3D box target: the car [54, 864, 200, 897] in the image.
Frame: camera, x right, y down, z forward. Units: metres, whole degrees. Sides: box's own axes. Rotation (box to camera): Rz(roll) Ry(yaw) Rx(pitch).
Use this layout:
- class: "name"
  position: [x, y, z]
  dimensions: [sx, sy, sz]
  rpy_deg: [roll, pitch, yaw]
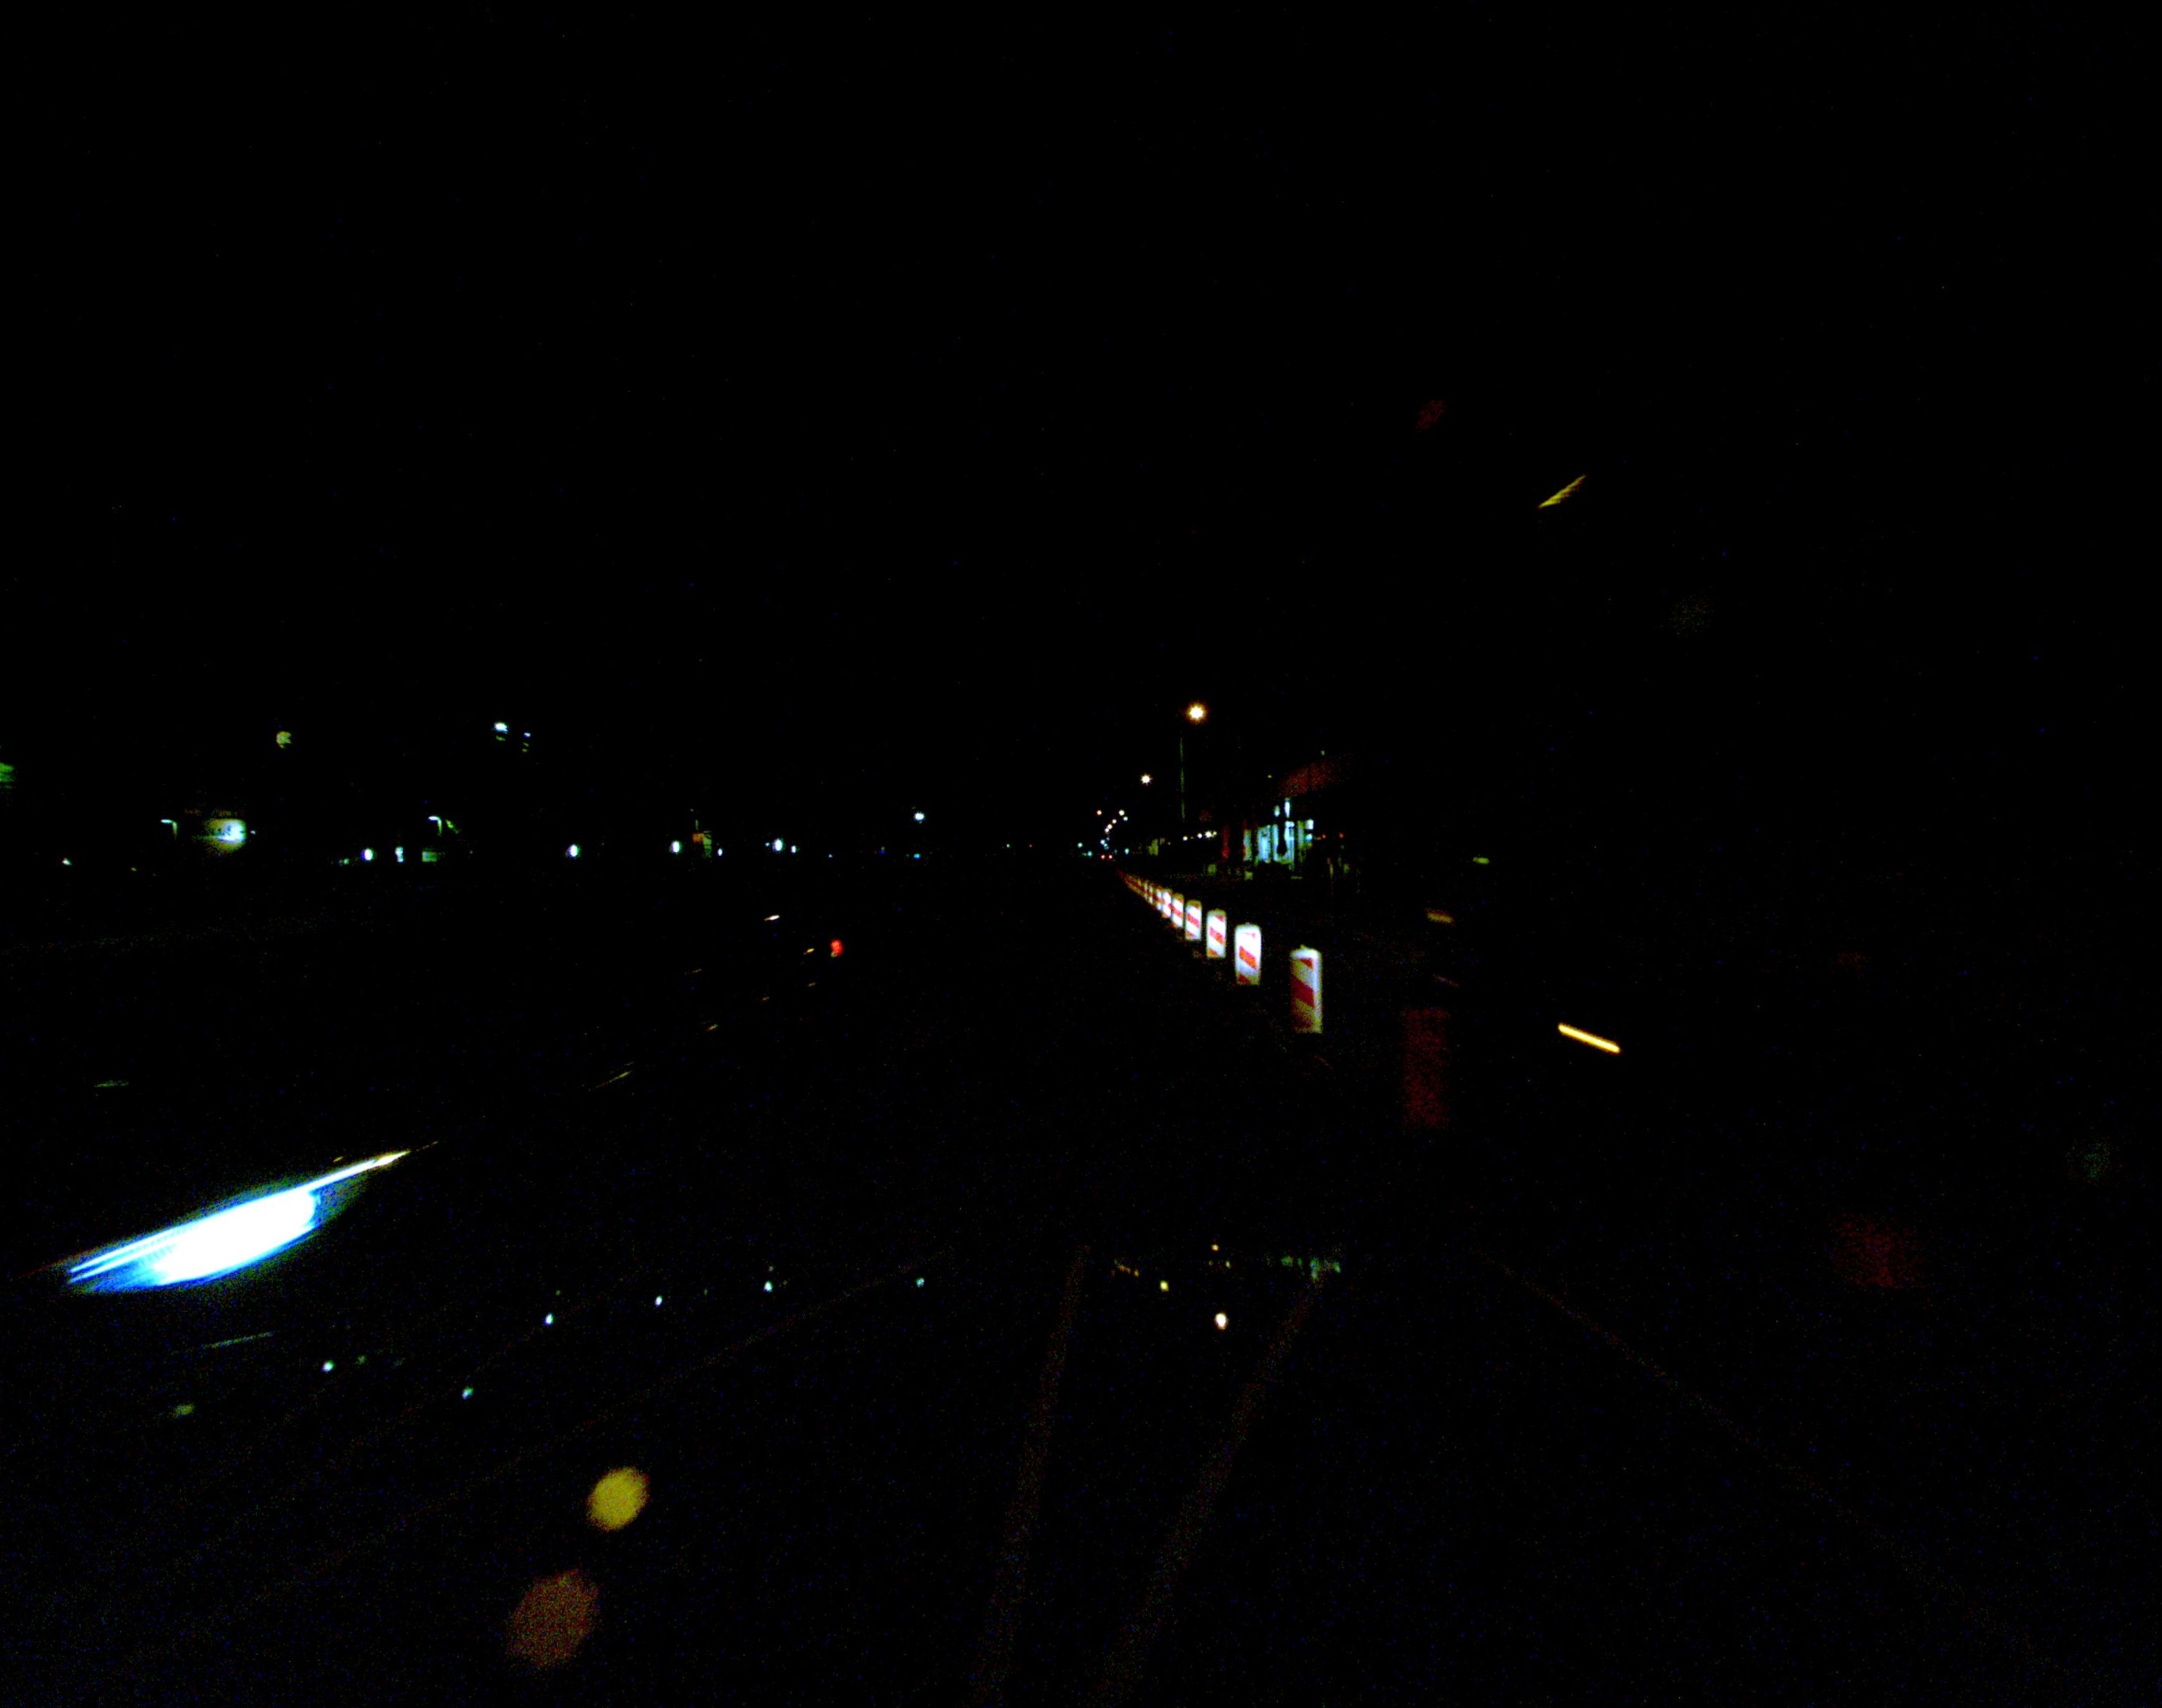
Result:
- class: "car"
  position: [-48.351, 1.314, 38.670]
  dimensions: [1.998, 1.499, 4.301]
  rpy_deg: [0, 0, 0]

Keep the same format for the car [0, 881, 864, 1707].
- class: "car"
  position: [-2.795, 1.031, 3.912]
  dimensions: [1.809, 1.485, 4.729]
  rpy_deg: [-3, 0, 1]

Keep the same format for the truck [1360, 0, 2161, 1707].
- class: "truck"
  position: [3.205, -0.267, 0.164]
  dimensions: [2.762, 3.696, 10.113]
  rpy_deg: [0, 0, 1]

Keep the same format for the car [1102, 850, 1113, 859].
- class: "car"
  position: [4.706, 0.062, 135.161]
  dimensions: [1.671, 1.420, 3.999]
  rpy_deg: [1, 0, 0]
